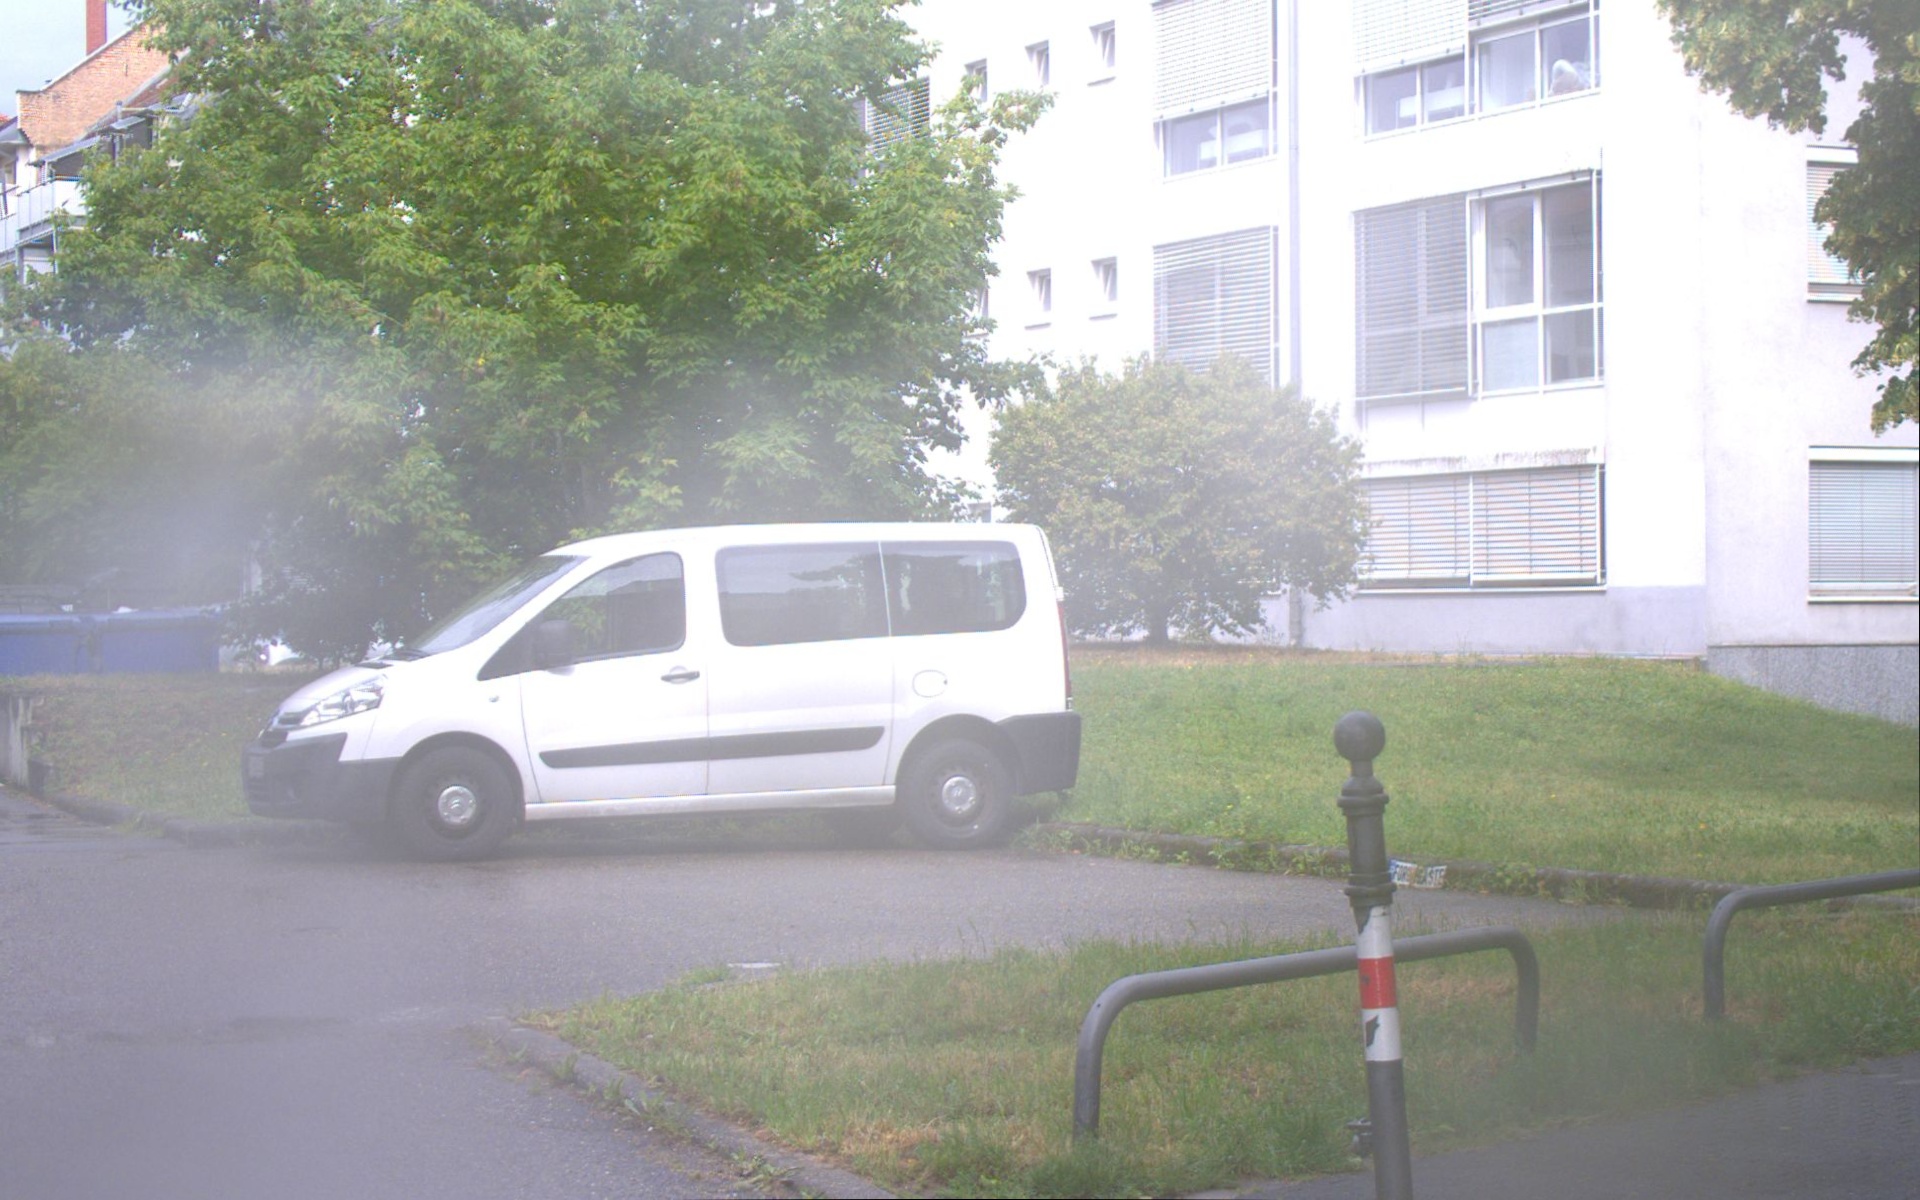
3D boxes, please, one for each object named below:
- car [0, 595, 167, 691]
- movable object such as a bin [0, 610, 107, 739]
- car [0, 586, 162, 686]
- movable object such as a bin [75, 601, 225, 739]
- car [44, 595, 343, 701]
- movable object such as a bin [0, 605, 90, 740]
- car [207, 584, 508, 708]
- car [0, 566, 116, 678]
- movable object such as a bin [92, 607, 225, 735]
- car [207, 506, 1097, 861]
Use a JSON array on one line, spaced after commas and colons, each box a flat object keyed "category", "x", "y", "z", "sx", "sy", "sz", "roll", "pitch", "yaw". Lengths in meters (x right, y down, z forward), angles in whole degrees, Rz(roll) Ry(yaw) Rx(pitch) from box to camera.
[{"category": "car", "x": -15.564, "y": 0.737, "z": 57.994, "sx": 3.908, "sy": 1.508, "sz": 1.752, "roll": -2, "pitch": 0, "yaw": -28}, {"category": "movable object such as a bin", "x": -9.669, "y": 0.766, "z": 35.801, "sx": 1.371, "sy": 1.300, "sz": 1.083, "roll": -1, "pitch": 0, "yaw": -21}, {"category": "car", "x": -16.376, "y": 0.644, "z": 61.223, "sx": 3.908, "sy": 1.682, "sz": 1.817, "roll": -2, "pitch": 0, "yaw": -25}, {"category": "movable object such as a bin", "x": -8.163, "y": 0.693, "z": 34.603, "sx": 1.292, "sy": 1.332, "sz": 1.197, "roll": -1, "pitch": 0, "yaw": -21}, {"category": "car", "x": -11.410, "y": 0.693, "z": 51.207, "sx": 3.986, "sy": 1.453, "sz": 1.773, "roll": -1, "pitch": 0, "yaw": -28}, {"category": "movable object such as a bin", "x": -9.374, "y": 0.712, "z": 34.034, "sx": 1.337, "sy": 1.287, "sz": 1.096, "roll": -1, "pitch": 1, "yaw": -21}, {"category": "car", "x": -7.703, "y": 0.576, "z": 43.932, "sx": 3.415, "sy": 1.422, "sz": 1.688, "roll": -2, "pitch": 0, "yaw": -25}, {"category": "car", "x": -18.247, "y": 0.418, "z": 63.531, "sx": 4.636, "sy": 1.996, "sz": 2.225, "roll": -2, "pitch": 1, "yaw": -33}, {"category": "movable object such as a bin", "x": -8.476, "y": 0.738, "z": 36.322, "sx": 1.185, "sy": 1.300, "sz": 1.107, "roll": -1, "pitch": 0, "yaw": -22}, {"category": "car", "x": -1.843, "y": 0.491, "z": 20.429, "sx": 4.872, "sy": 1.919, "sz": 2.100, "roll": 1, "pitch": -1, "yaw": -21}]
